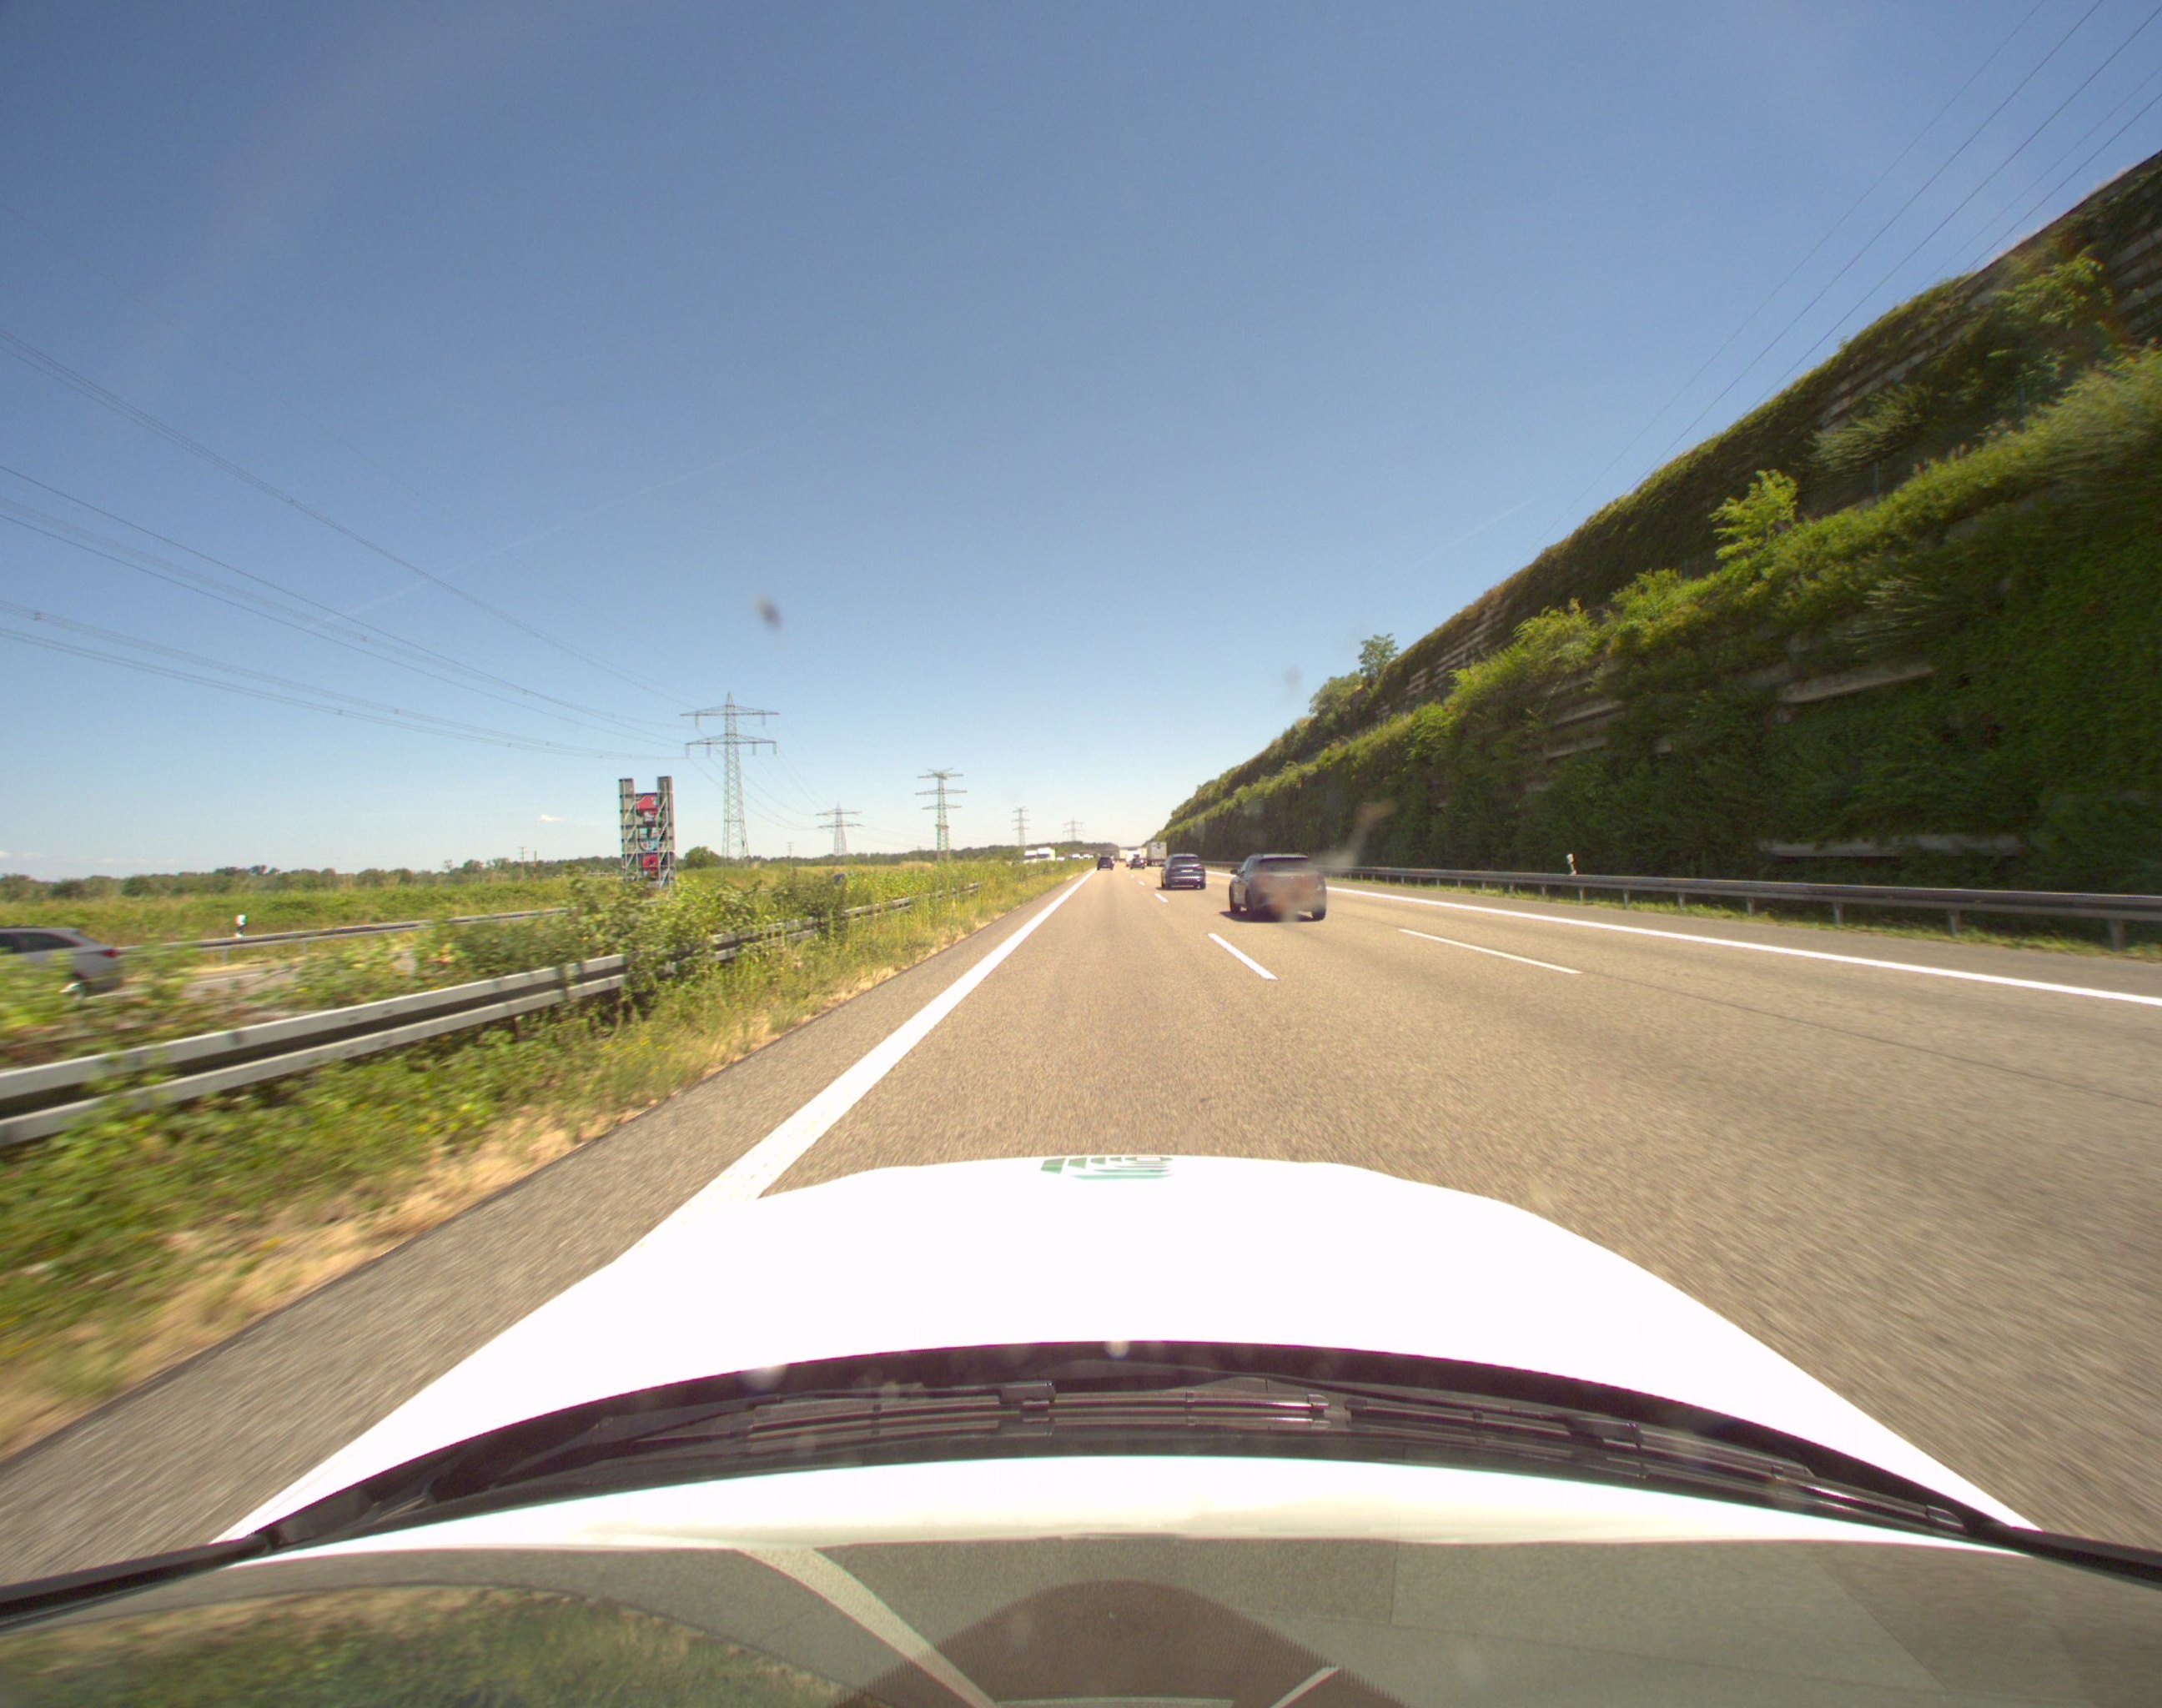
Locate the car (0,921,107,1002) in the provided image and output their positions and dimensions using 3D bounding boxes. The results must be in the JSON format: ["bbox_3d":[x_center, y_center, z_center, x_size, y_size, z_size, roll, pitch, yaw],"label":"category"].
[{"bbox_3d":[-16.531,1.650,11.172,1.498,1.091,3.991,-3,0,0],"label":"car"}]

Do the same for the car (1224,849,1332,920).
[{"bbox_3d":[4.736,0.689,20.132,1.743,1.525,3.996,-2,0,1],"label":"car"}]

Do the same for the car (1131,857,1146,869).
[{"bbox_3d":[7.422,1.146,105.197,1.822,1.525,4.003,-3,0,3],"label":"car"}]

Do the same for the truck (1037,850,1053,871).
[{"bbox_3d":[-7.256,1.253,165.133,2.795,4.158,5.571,-1,0,1],"label":"truck"}]

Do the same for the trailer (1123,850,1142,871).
[{"bbox_3d":[8.294,1.094,132.256,2.601,3.213,9.956,-2,0,2],"label":"trailer"}]

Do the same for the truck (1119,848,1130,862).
[{"bbox_3d":[13.963,0.327,264.992,3.396,4.280,10.613,-1,0,2],"label":"truck"}]

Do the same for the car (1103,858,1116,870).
[{"bbox_3d":[4.424,1.511,126.266,1.823,1.670,4.001,-3,0,2],"label":"car"}]

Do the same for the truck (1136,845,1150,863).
[{"bbox_3d":[16.066,0.062,212.309,3.107,4.280,11.940,-2,0,2],"label":"truck"}]

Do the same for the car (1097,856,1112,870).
[{"bbox_3d":[2.936,1.129,102.309,1.823,1.670,4.001,-3,0,2],"label":"car"}]

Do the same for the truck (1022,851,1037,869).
[{"bbox_3d":[-11.344,1.315,180.099,2.767,3.853,5.568,-1,0,-1],"label":"truck"}]

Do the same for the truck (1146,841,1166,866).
[{"bbox_3d":[13.200,-0.034,144.114,3.124,4.142,5.506,-2,0,2],"label":"truck"}]

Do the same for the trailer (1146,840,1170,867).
[{"bbox_3d":[12.973,-0.041,137.612,3.171,4.121,13.438,-2,0,2],"label":"trailer"}]

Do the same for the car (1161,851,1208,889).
[{"bbox_3d":[4.834,0.733,38.555,1.787,1.653,4.140,-2,0,2],"label":"car"}]
